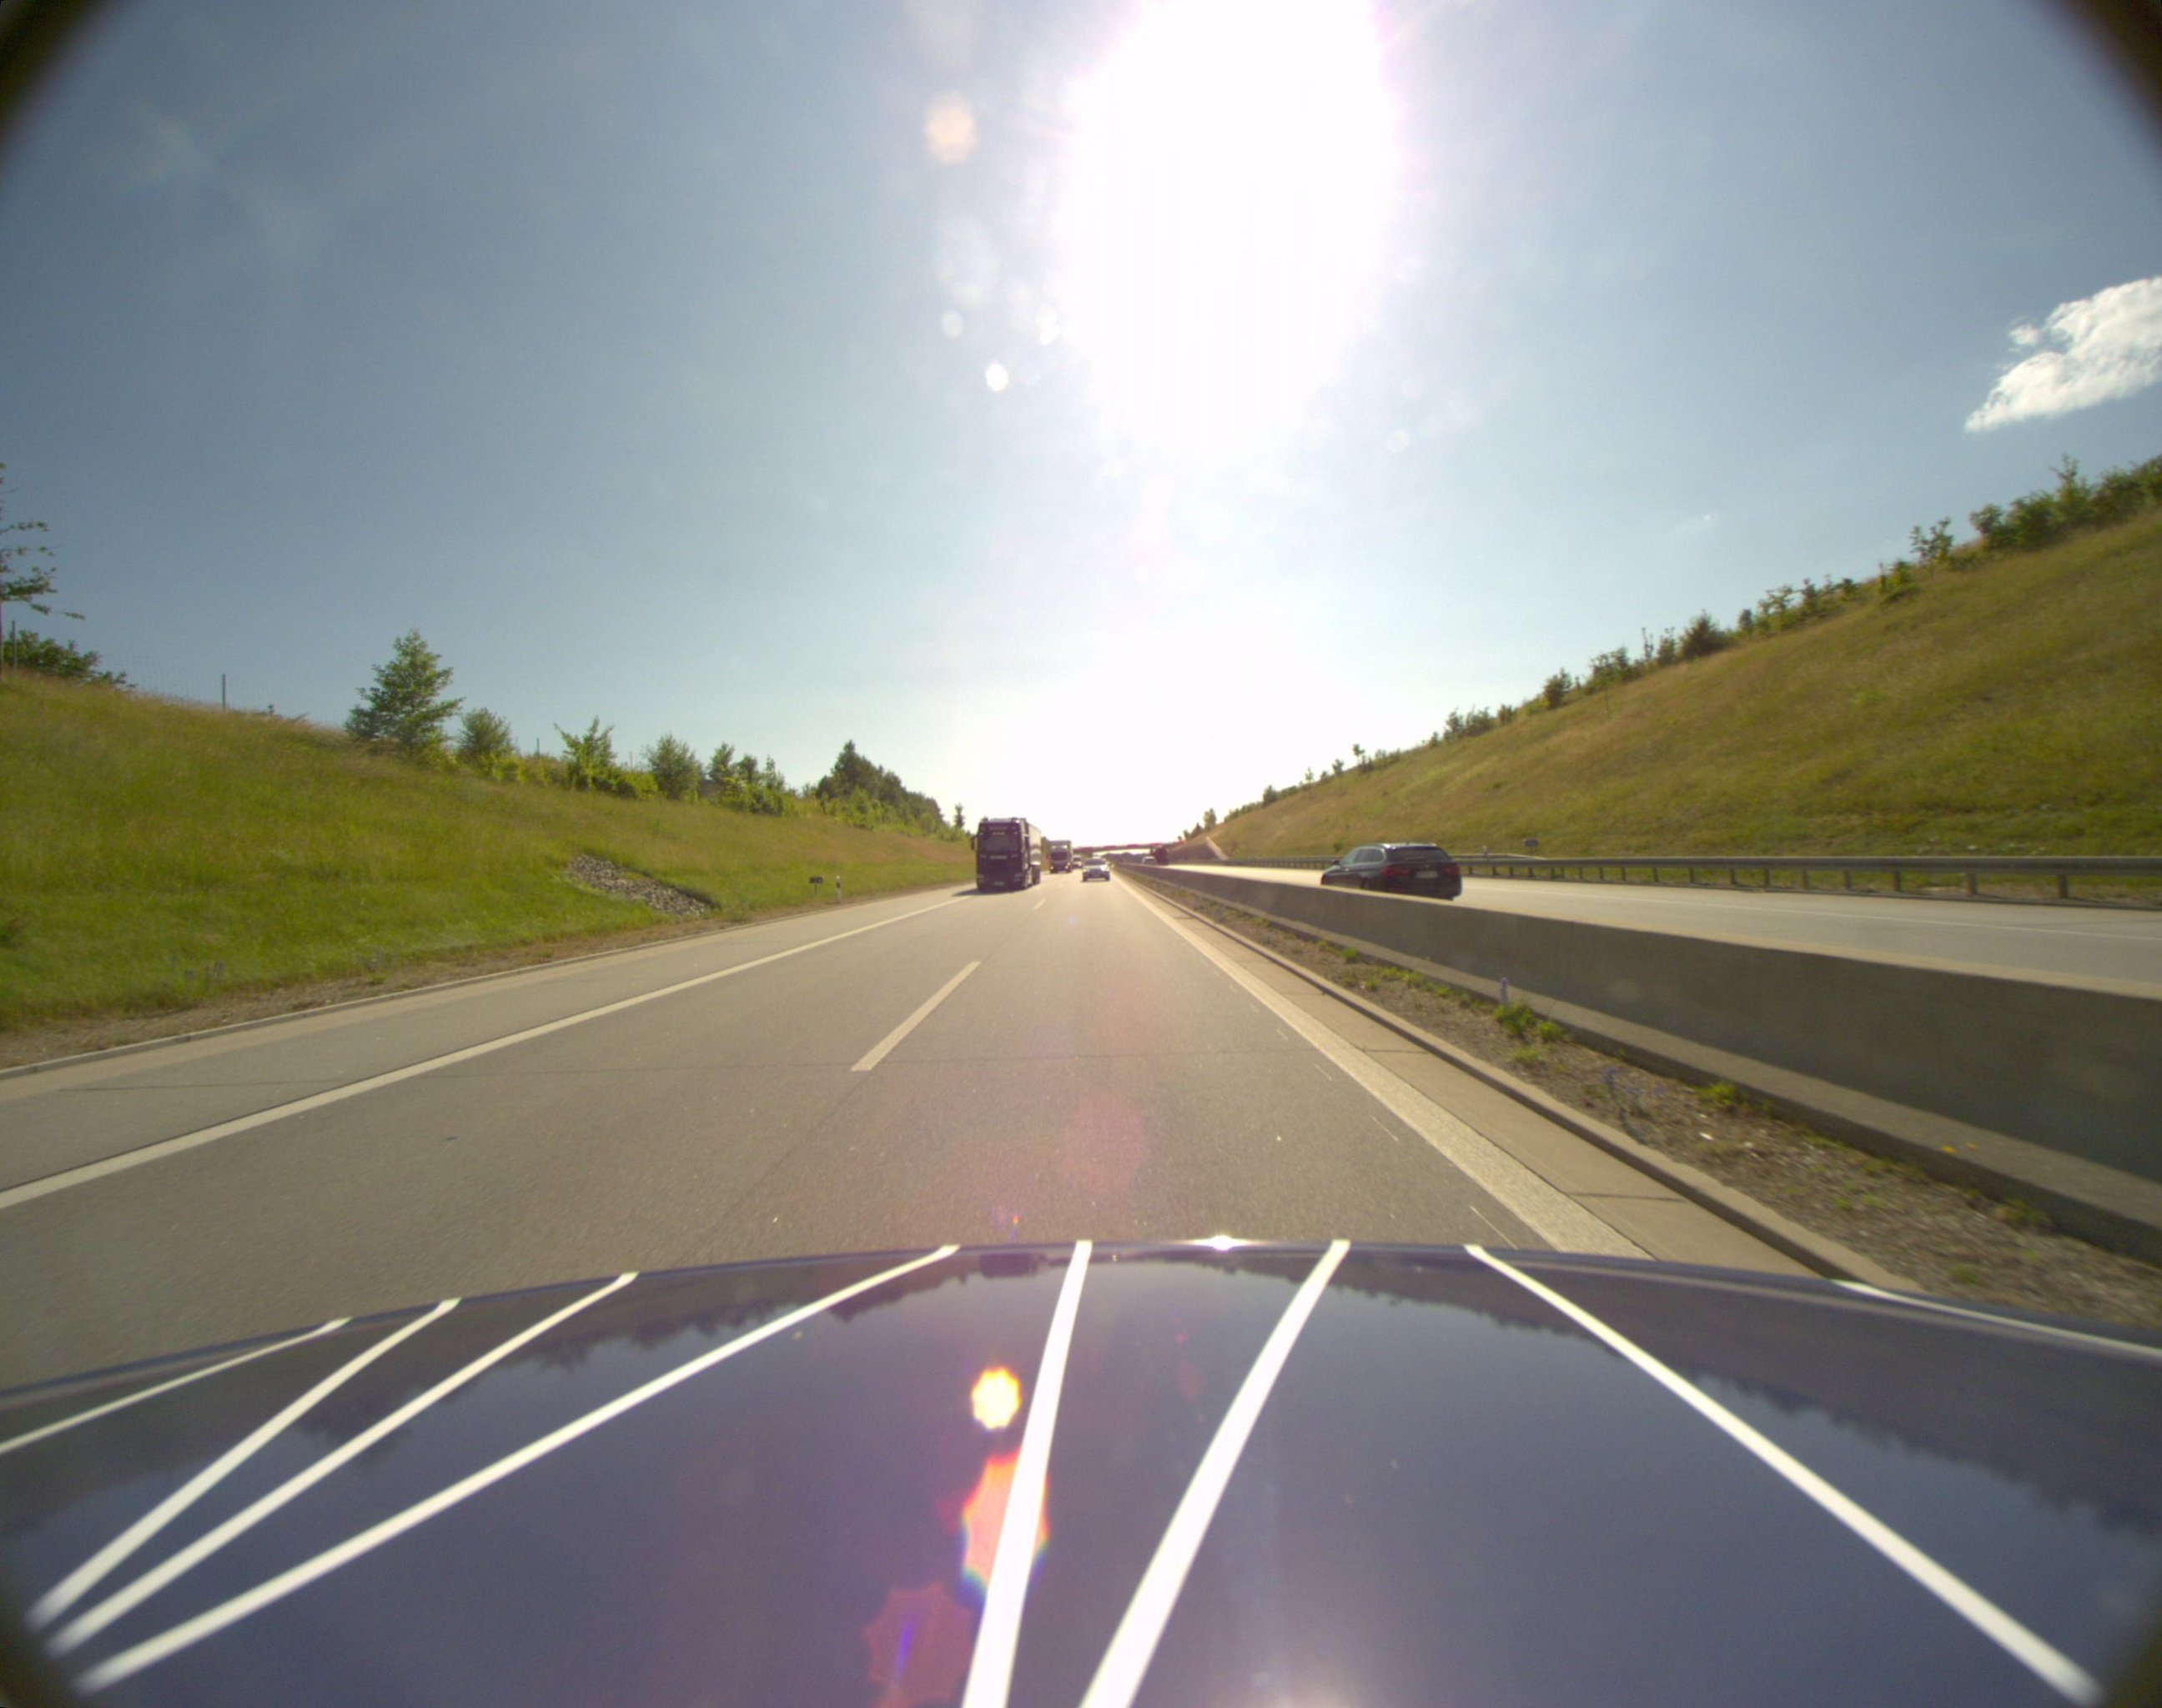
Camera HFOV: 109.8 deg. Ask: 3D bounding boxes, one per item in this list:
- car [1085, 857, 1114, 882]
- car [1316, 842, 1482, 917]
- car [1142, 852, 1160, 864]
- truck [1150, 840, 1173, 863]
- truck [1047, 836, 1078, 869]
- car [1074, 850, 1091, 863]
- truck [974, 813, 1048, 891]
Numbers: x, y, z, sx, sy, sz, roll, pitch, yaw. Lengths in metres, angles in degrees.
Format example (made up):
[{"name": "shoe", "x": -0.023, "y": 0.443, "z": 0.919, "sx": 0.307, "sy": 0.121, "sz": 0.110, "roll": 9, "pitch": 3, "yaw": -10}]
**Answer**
[{"name": "car", "x": 1.280, "y": 1.016, "z": 51.917, "sx": 1.795, "sy": 1.501, "sz": 3.636, "roll": -4, "pitch": 0, "yaw": 3}, {"name": "car", "x": 7.246, "y": 0.523, "z": 17.926, "sx": 1.858, "sy": 1.453, "sz": 4.768, "roll": -3, "pitch": 0, "yaw": 0}, {"name": "car", "x": 9.207, "y": 0.510, "z": 100.386, "sx": 1.858, "sy": 1.453, "sz": 4.727, "roll": -3, "pitch": 0, "yaw": 0}, {"name": "truck", "x": 14.164, "y": -0.441, "z": 134.845, "sx": 2.763, "sy": 3.918, "sz": 12.447, "roll": -2, "pitch": 0, "yaw": 0}, {"name": "truck", "x": -2.161, "y": -0.220, "z": 95.477, "sx": 3.024, "sy": 3.795, "sz": 13.404, "roll": -2, "pitch": 0, "yaw": 2}, {"name": "car", "x": 0.189, "y": 0.437, "z": 133.754, "sx": 2.816, "sy": 2.143, "sz": 5.947, "roll": -2, "pitch": 0, "yaw": 0}, {"name": "truck", "x": -3.785, "y": -0.124, "z": 44.777, "sx": 2.623, "sy": 3.795, "sz": 13.404, "roll": -2, "pitch": 0, "yaw": 2}]
